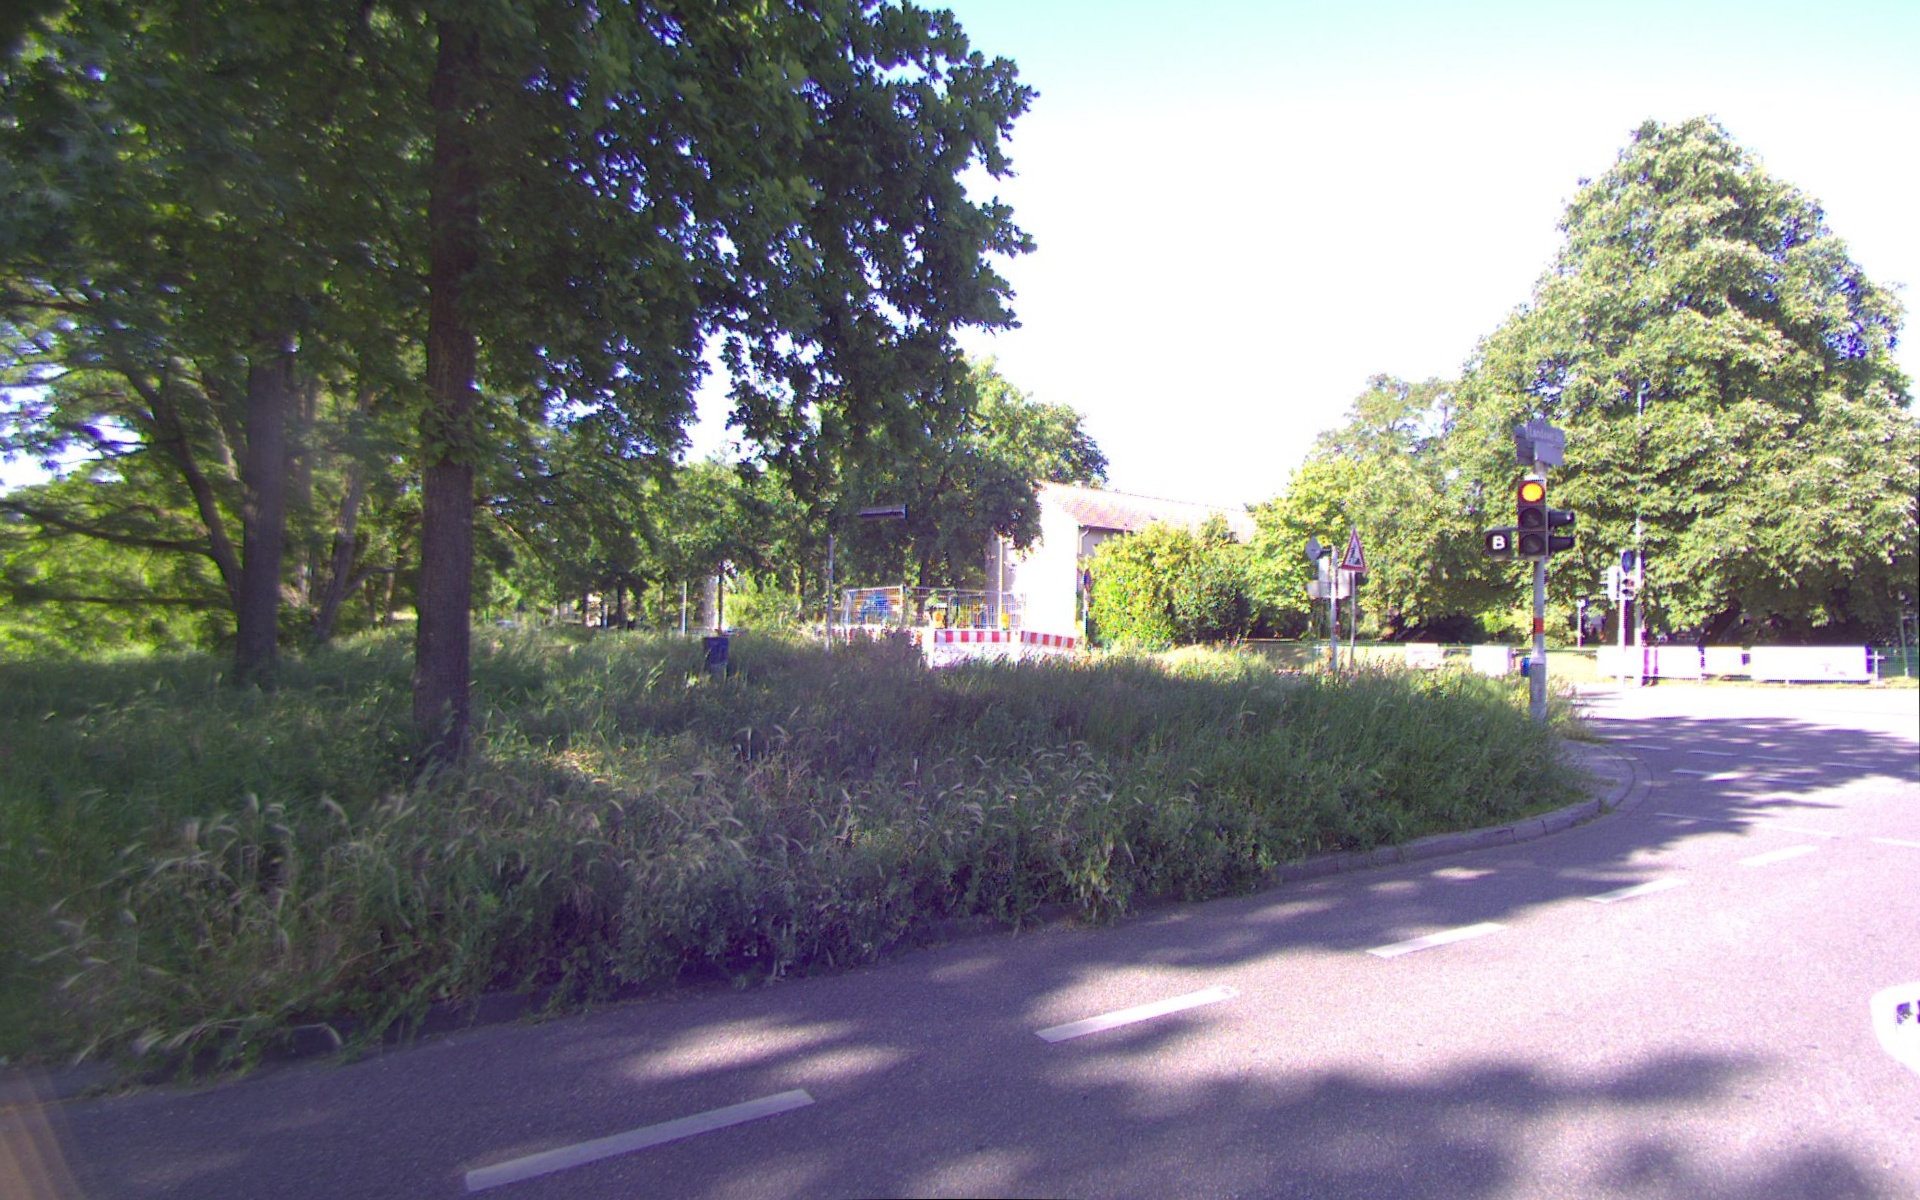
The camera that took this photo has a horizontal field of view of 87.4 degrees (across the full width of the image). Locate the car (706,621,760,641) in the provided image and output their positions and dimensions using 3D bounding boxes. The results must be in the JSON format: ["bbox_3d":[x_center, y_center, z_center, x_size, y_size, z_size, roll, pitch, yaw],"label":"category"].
[{"bbox_3d":[-16.401,2.245,72.359,1.983,1.449,4.690,2,-3,-39],"label":"car"}]

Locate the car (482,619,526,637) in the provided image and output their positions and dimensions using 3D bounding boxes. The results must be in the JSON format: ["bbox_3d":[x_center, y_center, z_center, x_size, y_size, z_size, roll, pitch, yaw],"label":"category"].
[{"bbox_3d":[-47.380,2.883,104.490,3.939,1.673,1.991,2,0,-20],"label":"car"}]
